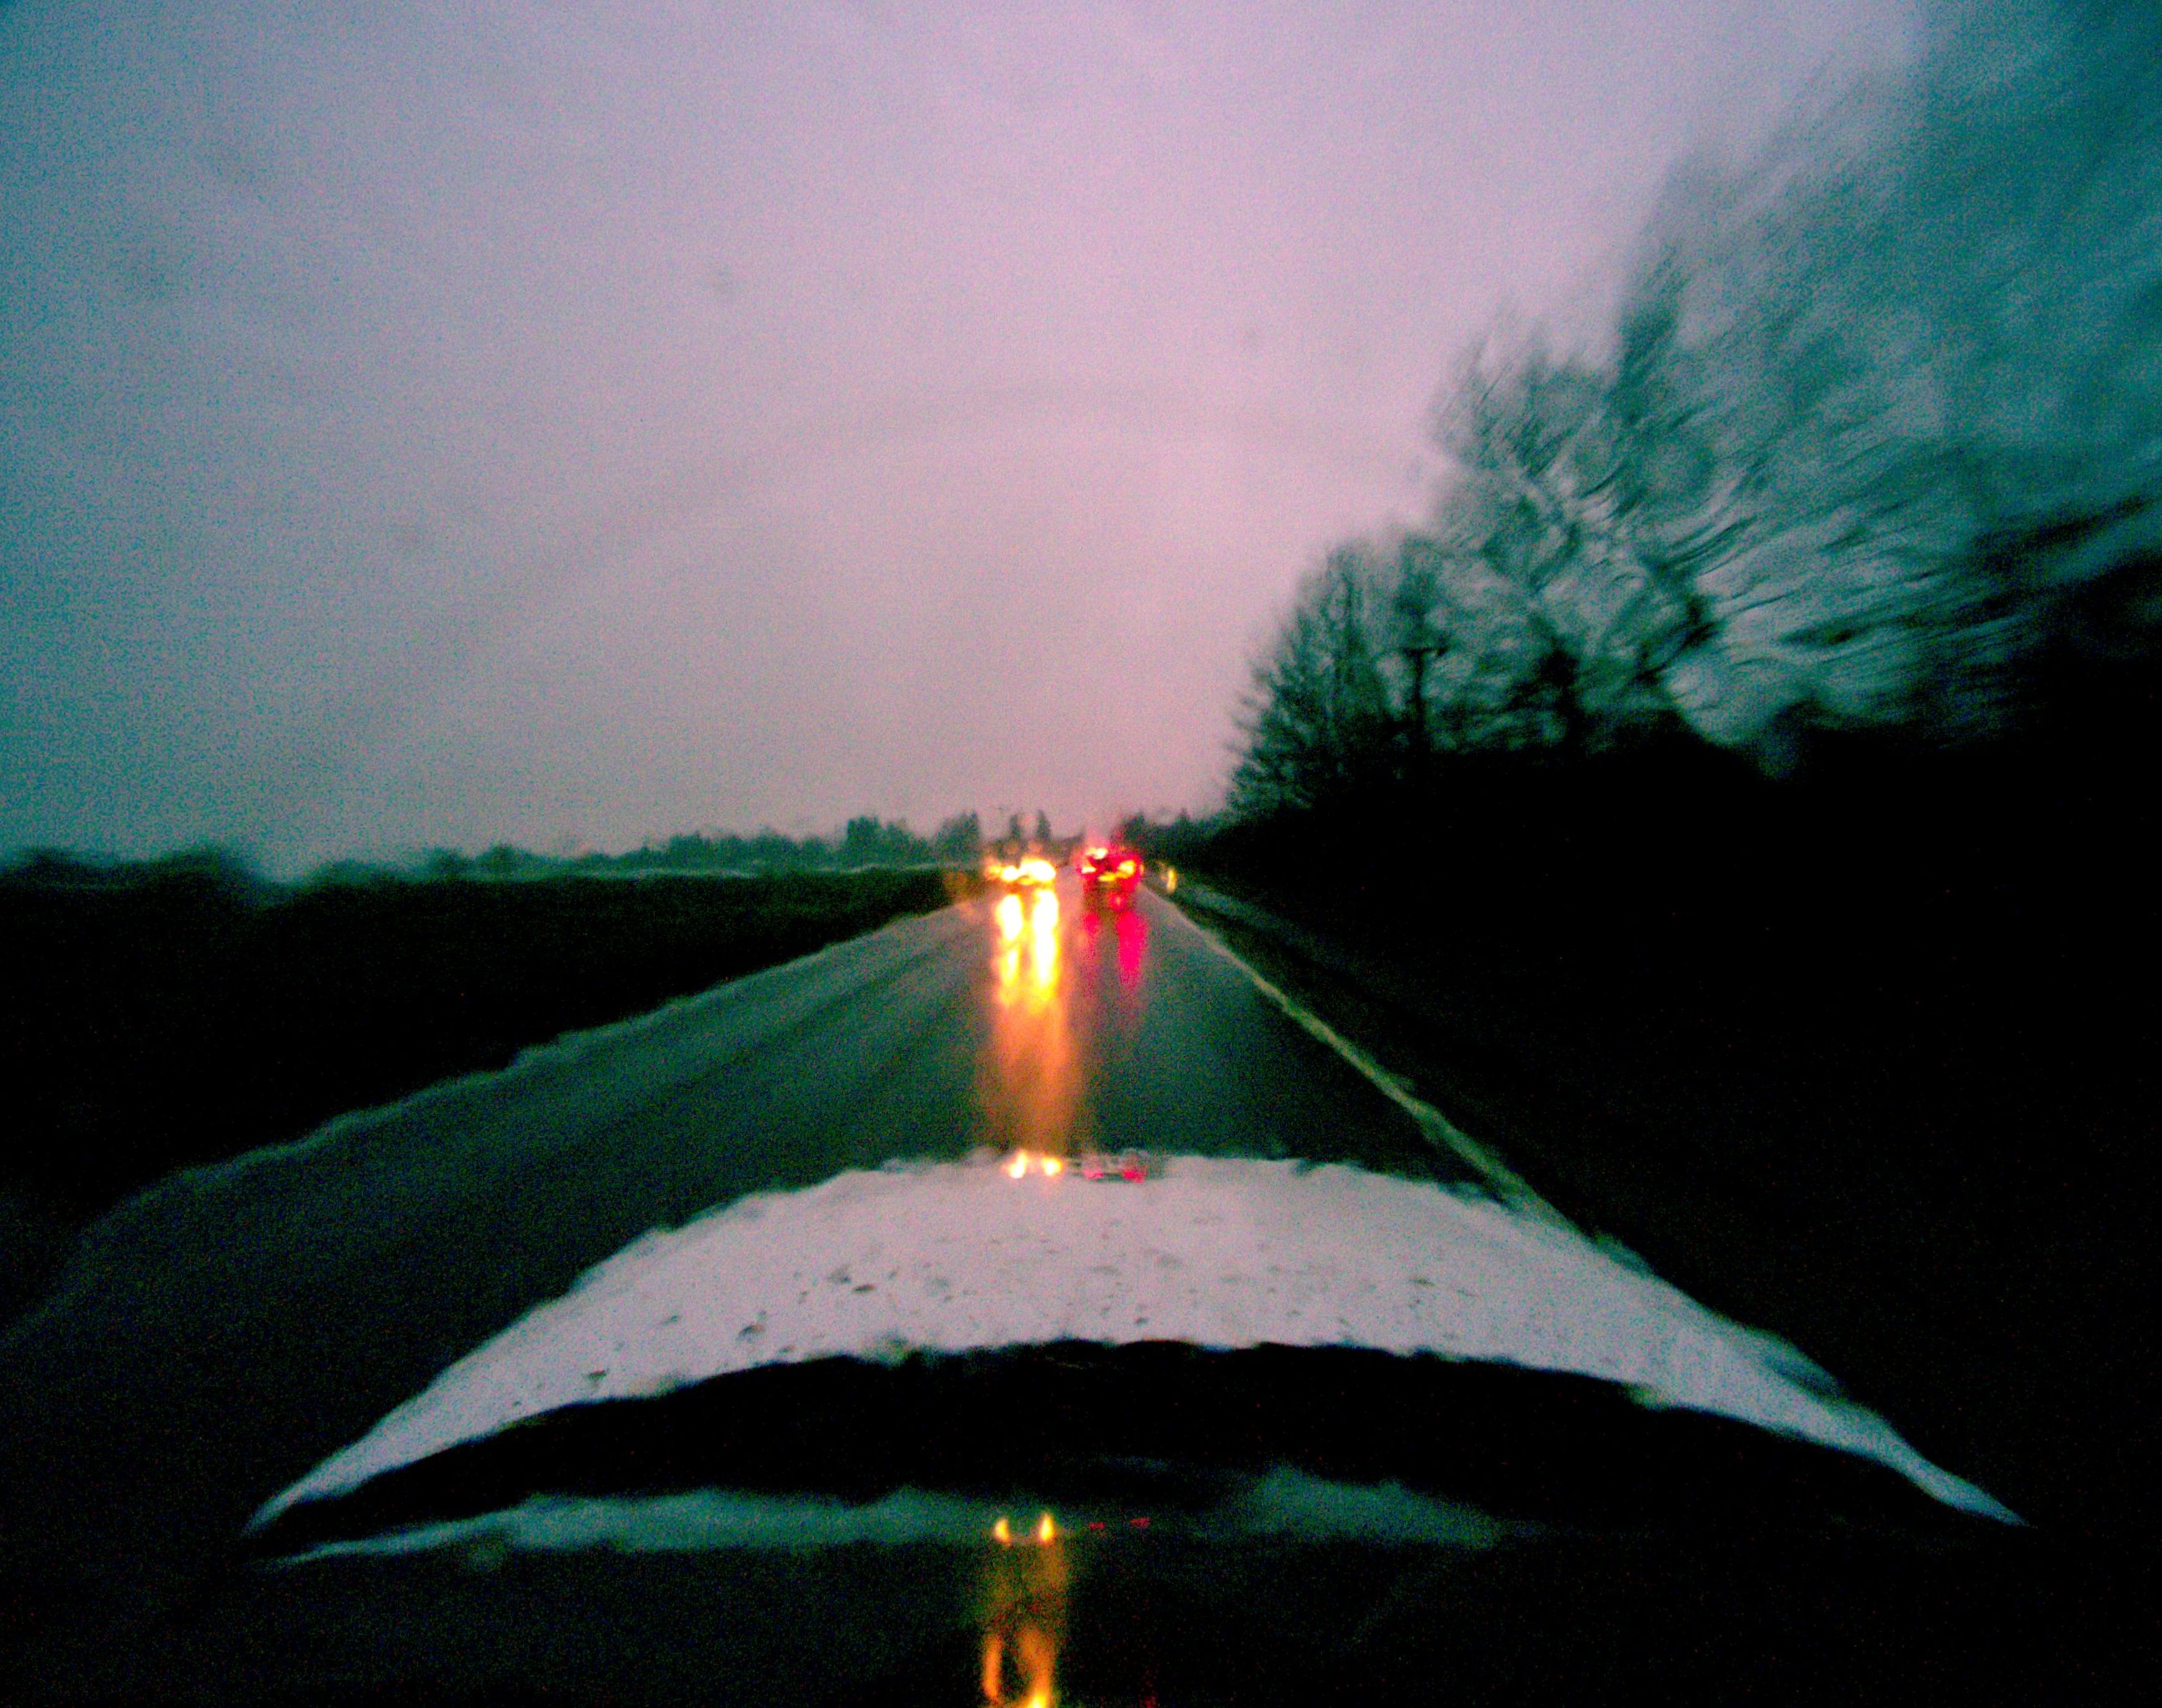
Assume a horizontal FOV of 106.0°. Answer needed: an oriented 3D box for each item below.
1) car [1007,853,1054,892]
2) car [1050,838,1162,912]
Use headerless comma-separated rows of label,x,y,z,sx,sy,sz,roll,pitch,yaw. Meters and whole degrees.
car,-2.262,0.823,37.640,1.833,1.721,3.957,-1,0,1
car,0.850,0.598,26.941,3.152,2.035,6.855,-2,0,2
